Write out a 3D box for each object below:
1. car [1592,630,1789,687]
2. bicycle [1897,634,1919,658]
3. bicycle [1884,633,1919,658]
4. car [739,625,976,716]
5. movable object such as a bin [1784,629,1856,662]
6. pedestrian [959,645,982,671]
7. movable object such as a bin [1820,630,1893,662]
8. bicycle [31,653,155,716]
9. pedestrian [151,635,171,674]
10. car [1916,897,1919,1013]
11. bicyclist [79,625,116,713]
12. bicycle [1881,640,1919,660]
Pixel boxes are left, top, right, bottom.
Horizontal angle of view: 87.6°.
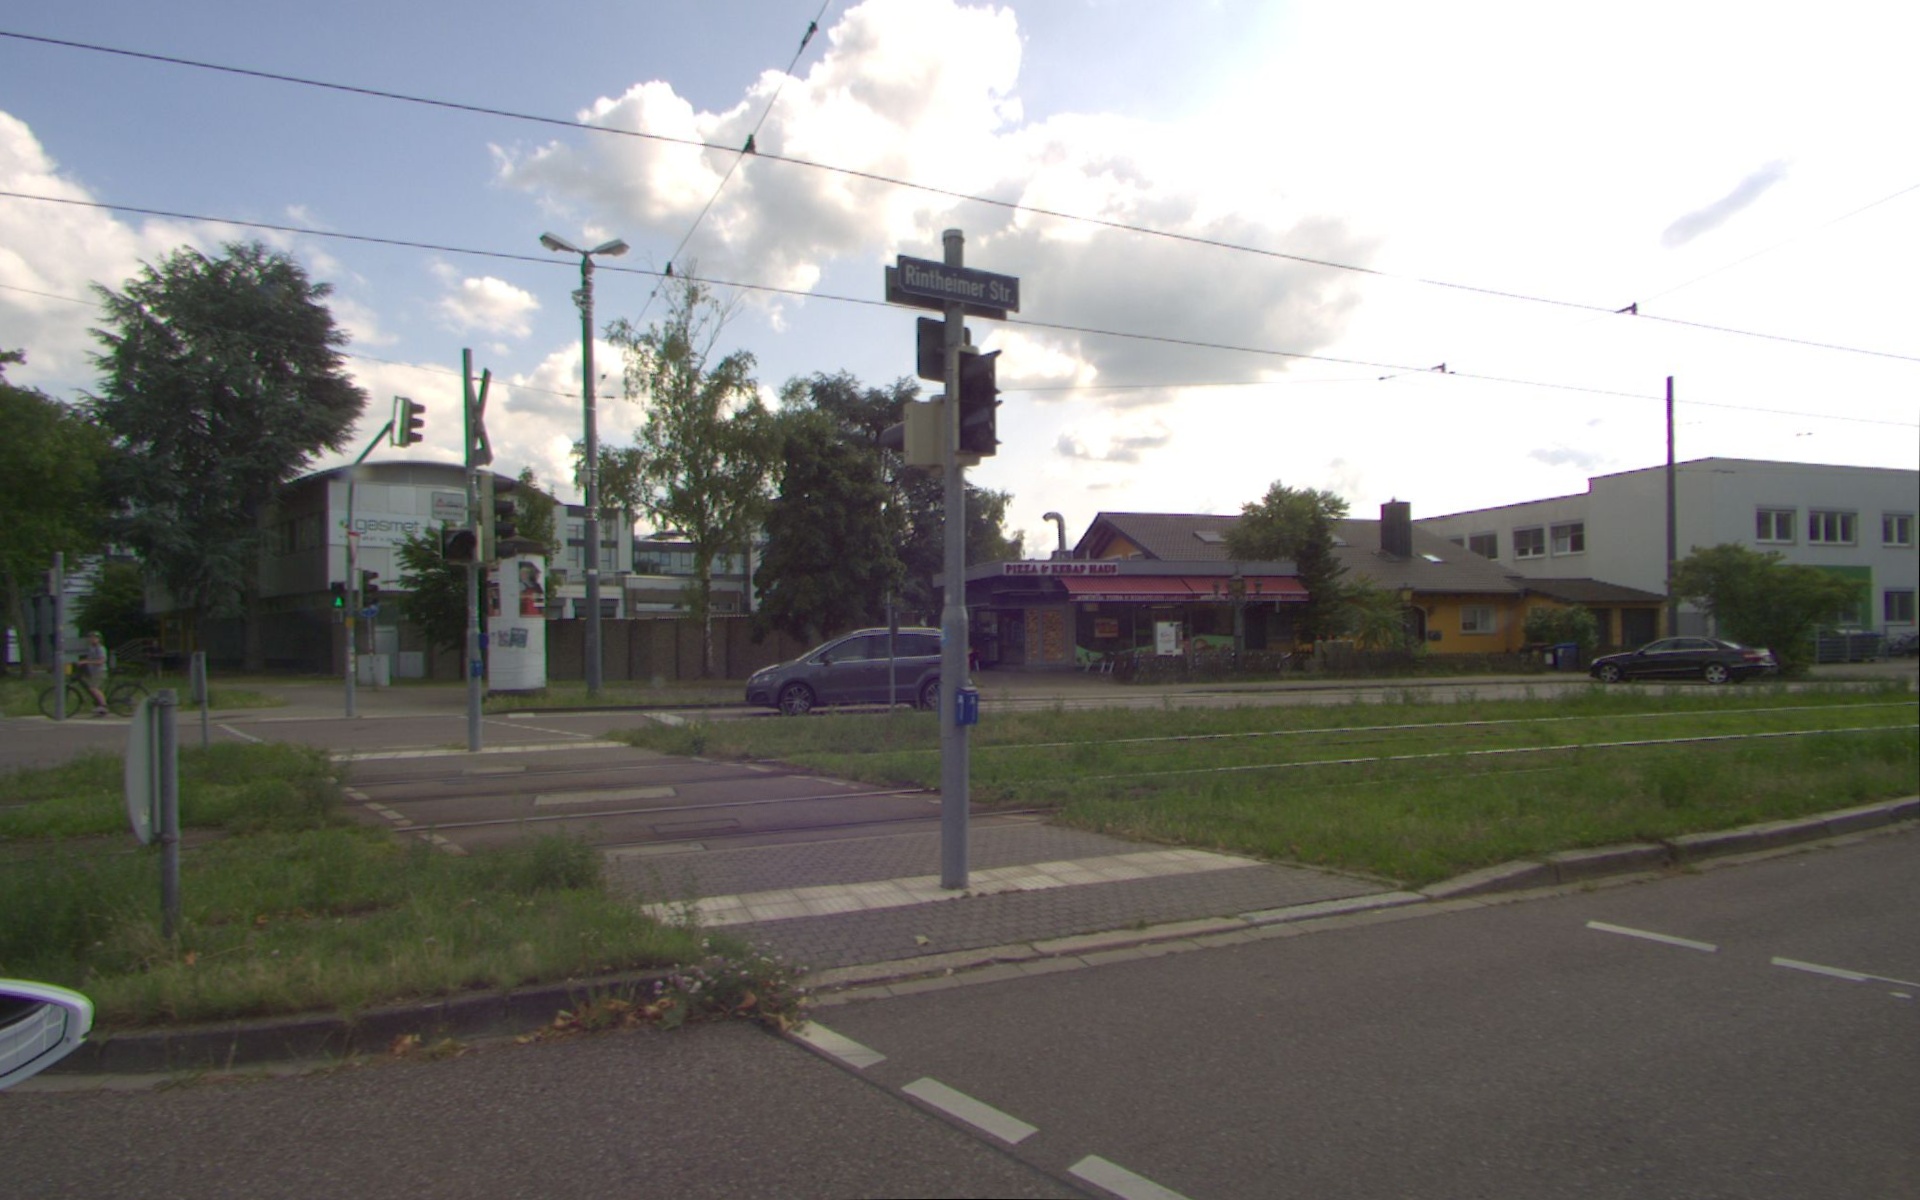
[{"bbox_3d":[22.554,1.811,31.091,1.976,1.600,4.549,1,-3,-36],"label":"car"},{"bbox_3d":[46.742,2.210,48.238,0.746,1.180,2.351,0,-2,-11],"label":"bicycle"},{"bbox_3d":[43.865,2.090,46.135,0.724,1.095,1.794,0,-2,-19],"label":"bicycle"},{"bbox_3d":[-2.183,1.416,20.987,4.656,1.744,1.997,0,-2,-16],"label":"car"},{"bbox_3d":[36.637,1.939,42.675,2.078,1.343,1.375,0,-2,-13],"label":"movable object such as a bin"},{"bbox_3d":[0.385,2.138,37.144,0.714,0.941,0.776,1,0,-12],"label":"pedestrian"},{"bbox_3d":[38.711,1.971,43.244,2.092,1.343,1.375,0,-2,-13],"label":"movable object such as a bin"},{"bbox_3d":[-18.345,1.770,21.242,1.928,1.252,0.537,1,0,-35],"label":"bicycle"},{"bbox_3d":[-33.727,2.299,42.262,0.616,1.590,0.553,0,1,-45],"label":"pedestrian"},{"bbox_3d":[6.095,0.933,4.242,4.542,1.412,1.830,1,0,-31],"label":"car"},{"bbox_3d":[-18.313,1.453,21.269,0.538,1.833,0.537,0,1,-35],"label":"bicyclist"},{"bbox_3d":[45.822,2.398,48.194,0.717,0.982,2.158,0,-2,-13],"label":"bicycle"}]
